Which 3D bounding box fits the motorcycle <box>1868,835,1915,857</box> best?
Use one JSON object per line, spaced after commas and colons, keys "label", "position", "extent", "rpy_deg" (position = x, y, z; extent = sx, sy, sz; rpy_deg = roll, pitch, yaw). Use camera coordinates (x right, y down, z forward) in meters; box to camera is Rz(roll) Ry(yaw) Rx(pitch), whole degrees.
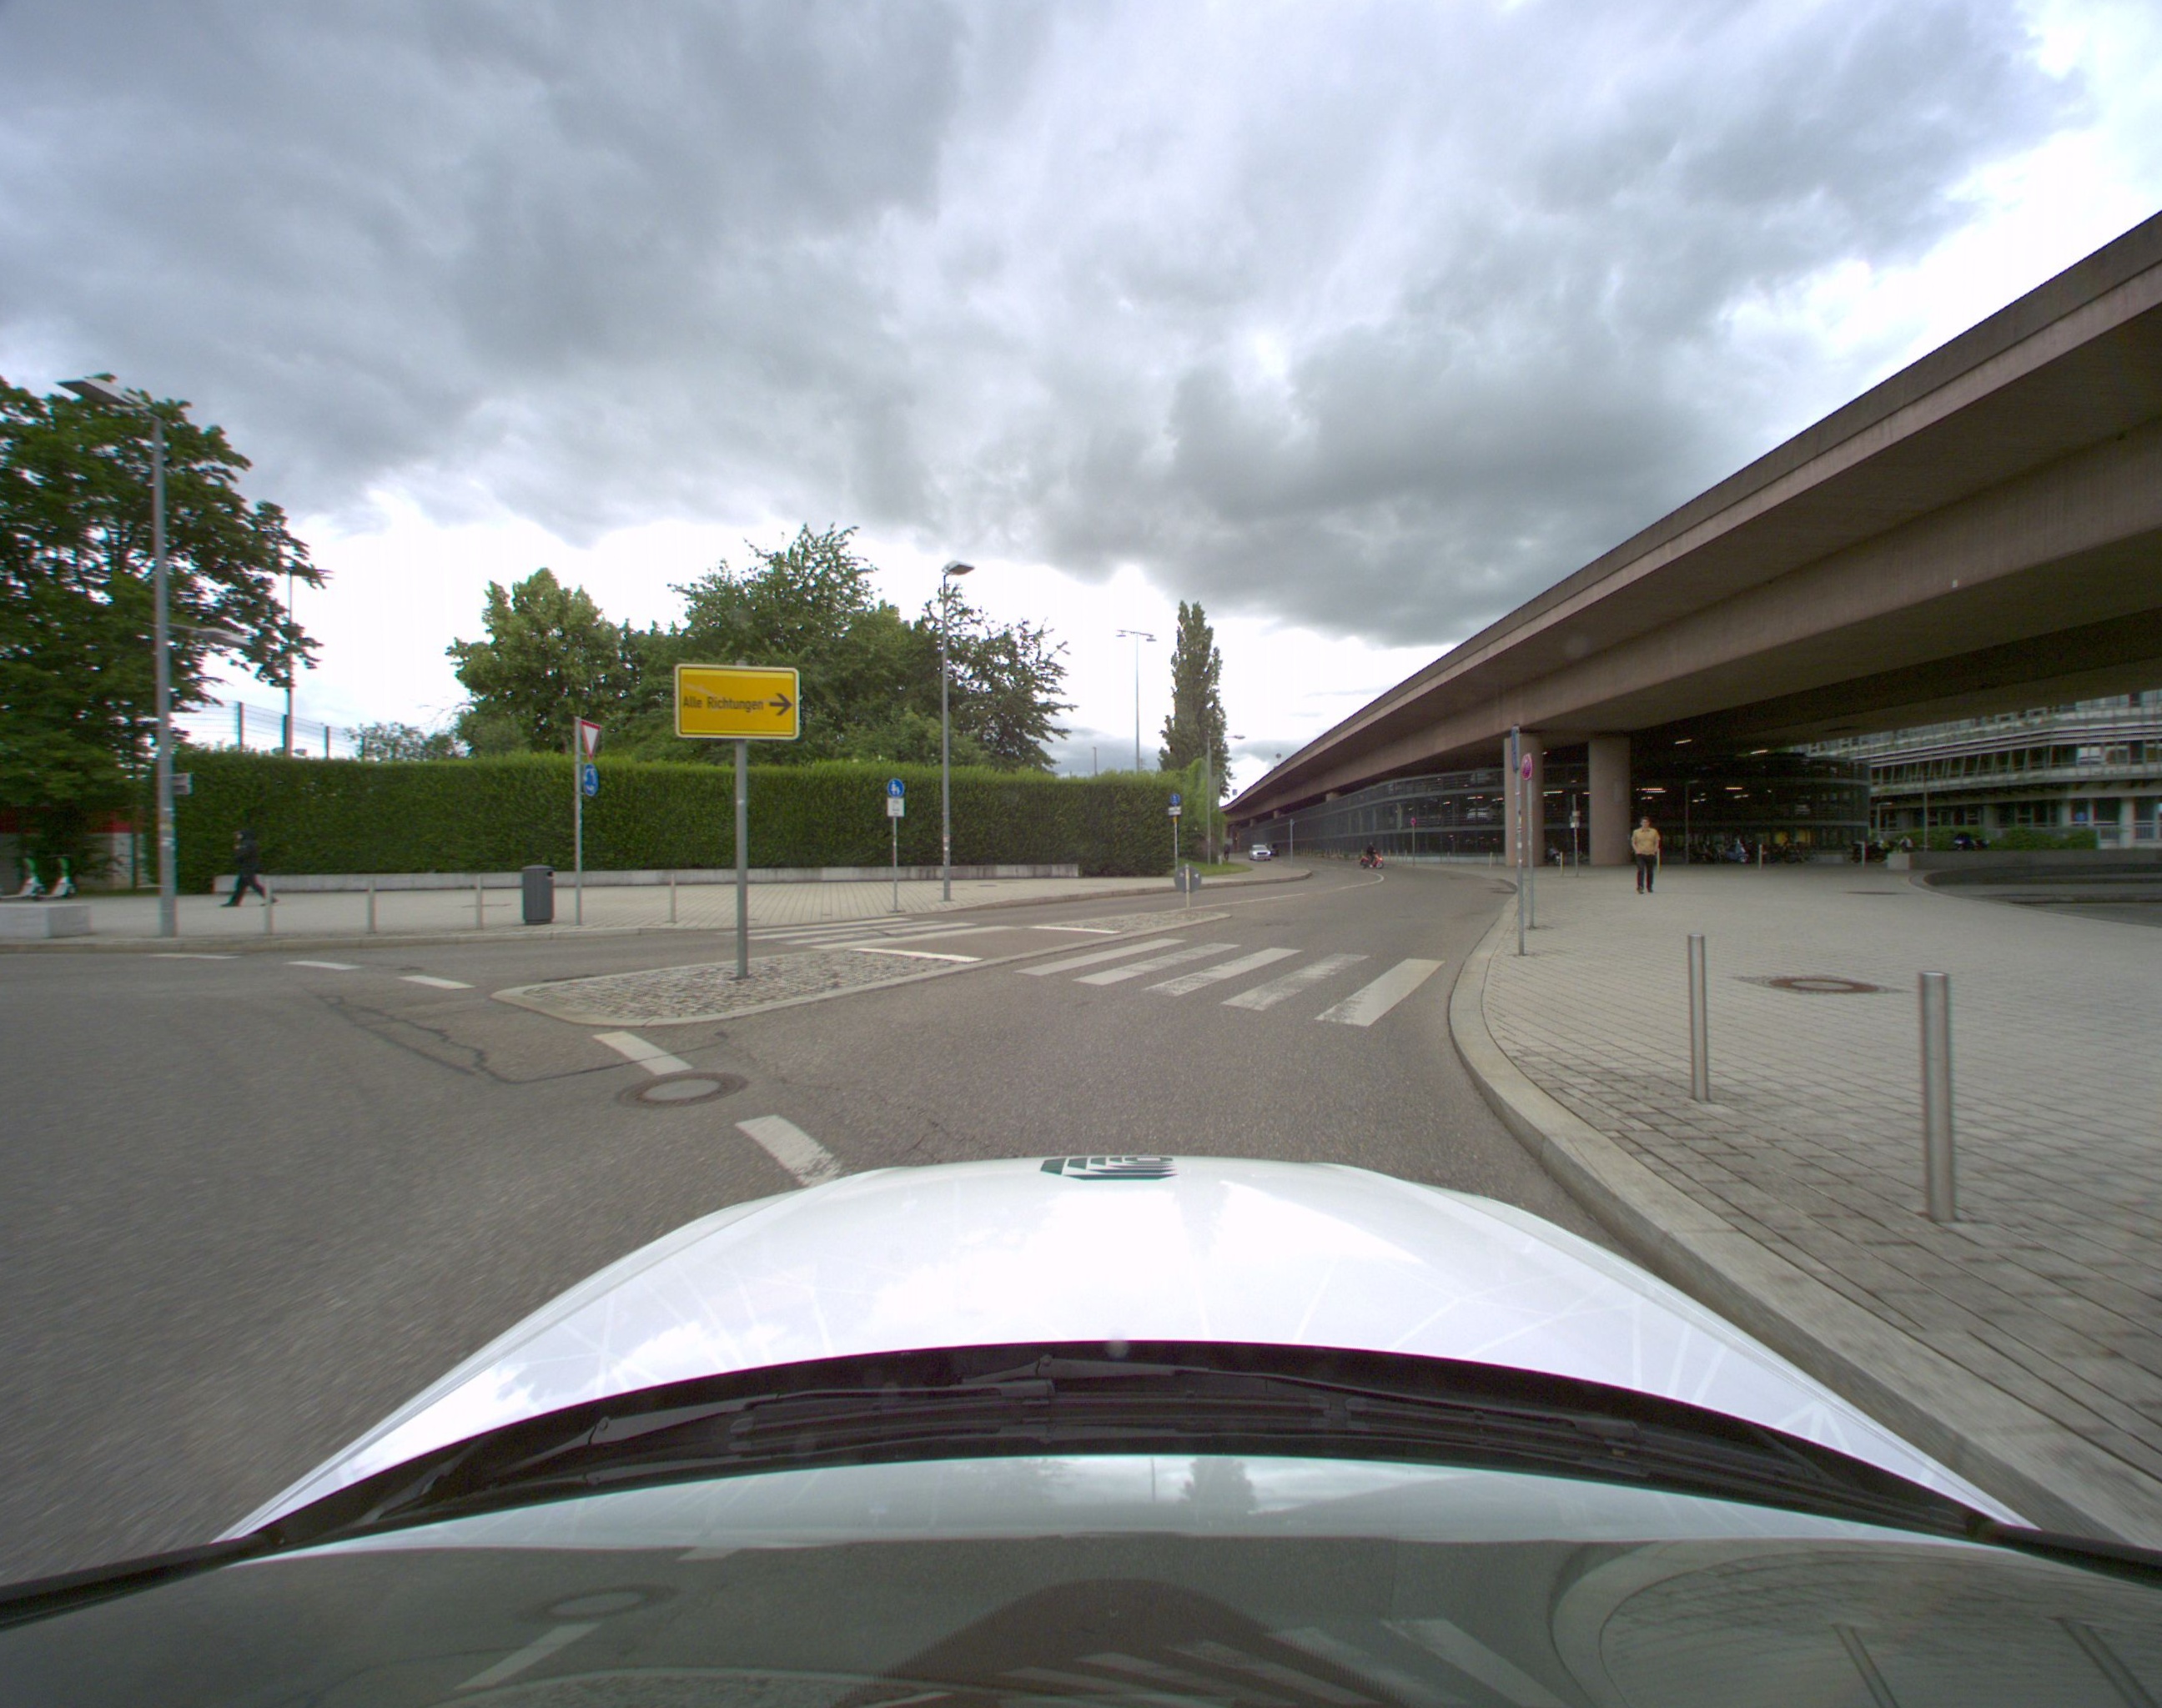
{"label": "motorcycle", "position": [47.570, -0.483, 47.807], "extent": [0.668, 1.220, 2.369], "rpy_deg": [-1, 2, 8]}

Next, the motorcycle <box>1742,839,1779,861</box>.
{"label": "motorcycle", "position": [39.175, -0.237, 46.974], "extent": [0.668, 1.220, 2.083], "rpy_deg": [-1, 2, 8]}

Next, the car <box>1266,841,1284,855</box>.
{"label": "car", "position": [24.818, -0.767, 104.112], "extent": [1.830, 1.711, 3.713], "rpy_deg": [-1, 2, 7]}

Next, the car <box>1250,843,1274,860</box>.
{"label": "car", "position": [18.919, -0.278, 85.398], "extent": [1.855, 1.683, 4.412], "rpy_deg": [-1, 2, 5]}

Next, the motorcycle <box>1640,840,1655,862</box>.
{"label": "motorcycle", "position": [31.236, -0.165, 44.877], "extent": [0.515, 1.171, 1.157], "rpy_deg": [0, -1, 43]}

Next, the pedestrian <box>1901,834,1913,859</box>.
{"label": "pedestrian", "position": [67.948, -0.602, 66.992], "extent": [0.523, 2.013, 0.576], "rpy_deg": [0, 0, 14]}

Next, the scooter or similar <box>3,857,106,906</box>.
{"label": "scooter or similar", "position": [-25.912, 0.659, 20.610], "extent": [0.640, 1.109, 1.962], "rpy_deg": [-2, 2, -20]}

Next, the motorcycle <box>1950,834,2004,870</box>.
{"label": "motorcycle", "position": [33.261, -0.076, 30.241], "extent": [1.938, 1.264, 0.545], "rpy_deg": [-2, 1, -15]}

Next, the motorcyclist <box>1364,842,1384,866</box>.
{"label": "motorcyclist", "position": [18.093, -0.014, 50.351], "extent": [0.765, 1.419, 0.863], "rpy_deg": [-2, 1, -22]}

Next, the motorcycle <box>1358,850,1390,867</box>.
{"label": "motorcycle", "position": [18.093, 0.276, 50.352], "extent": [0.749, 1.022, 1.942], "rpy_deg": [-2, 2, -22]}

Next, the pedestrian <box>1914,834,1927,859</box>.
{"label": "pedestrian", "position": [68.528, -0.601, 66.481], "extent": [0.523, 2.013, 0.576], "rpy_deg": [0, 0, 15]}

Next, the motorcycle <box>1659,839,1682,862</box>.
{"label": "motorcycle", "position": [34.161, -0.210, 47.220], "extent": [0.822, 1.220, 2.092], "rpy_deg": [-1, 2, 28]}

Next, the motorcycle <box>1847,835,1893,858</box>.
{"label": "motorcycle", "position": [45.899, -0.467, 47.430], "extent": [0.668, 1.275, 2.369], "rpy_deg": [-1, 2, 8]}

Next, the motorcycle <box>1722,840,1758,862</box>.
{"label": "motorcycle", "position": [38.306, -0.203, 47.370], "extent": [0.668, 1.220, 2.083], "rpy_deg": [-1, 2, 8]}

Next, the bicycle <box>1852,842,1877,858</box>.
{"label": "bicycle", "position": [47.679, -0.232, 49.573], "extent": [1.505, 0.895, 0.472], "rpy_deg": [-2, 1, -19]}

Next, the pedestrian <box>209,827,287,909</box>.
{"label": "pedestrian", "position": [-19.022, 0.297, 18.615], "extent": [0.861, 1.807, 0.793], "rpy_deg": [-1, 1, -2]}

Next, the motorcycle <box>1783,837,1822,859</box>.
{"label": "motorcycle", "position": [41.511, -0.371, 46.880], "extent": [0.668, 1.220, 2.083], "rpy_deg": [-1, 2, 7]}

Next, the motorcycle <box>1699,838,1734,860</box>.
{"label": "motorcycle", "position": [37.102, -0.288, 47.583], "extent": [0.668, 1.220, 2.083], "rpy_deg": [-1, 2, 8]}

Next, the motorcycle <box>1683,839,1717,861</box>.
{"label": "motorcycle", "position": [36.170, -0.248, 47.629], "extent": [0.668, 1.220, 2.083], "rpy_deg": [-1, 2, 8]}

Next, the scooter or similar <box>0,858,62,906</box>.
{"label": "scooter or similar", "position": [-26.704, 0.696, 20.317], "extent": [0.640, 1.109, 1.962], "rpy_deg": [-2, 2, -20]}

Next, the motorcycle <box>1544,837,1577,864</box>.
{"label": "motorcycle", "position": [27.223, -0.207, 46.243], "extent": [0.641, 1.455, 1.757], "rpy_deg": [-2, 1, -9]}

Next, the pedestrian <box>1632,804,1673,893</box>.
{"label": "pedestrian", "position": [13.491, -0.141, 19.230], "extent": [0.774, 2.013, 1.046], "rpy_deg": [0, 2, 35]}

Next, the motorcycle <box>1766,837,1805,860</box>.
{"label": "motorcycle", "position": [40.601, -0.335, 46.953], "extent": [0.668, 1.285, 2.083], "rpy_deg": [-1, 2, 8]}

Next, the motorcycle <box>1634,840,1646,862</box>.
{"label": "motorcycle", "position": [32.362, -0.197, 47.160], "extent": [0.515, 1.220, 1.158], "rpy_deg": [0, 2, 37]}

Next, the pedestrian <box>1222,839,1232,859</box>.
{"label": "pedestrian", "position": [13.203, -0.432, 73.619], "extent": [0.799, 1.780, 0.923], "rpy_deg": [-1, 1, 9]}

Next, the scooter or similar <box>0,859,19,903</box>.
{"label": "scooter or similar", "position": [-27.453, 0.707, 20.027], "extent": [0.640, 1.109, 1.962], "rpy_deg": [-2, 2, -20]}

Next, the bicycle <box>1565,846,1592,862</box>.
{"label": "bicycle", "position": [31.166, -0.016, 51.043], "extent": [1.458, 0.976, 0.454], "rpy_deg": [0, 2, 32]}
